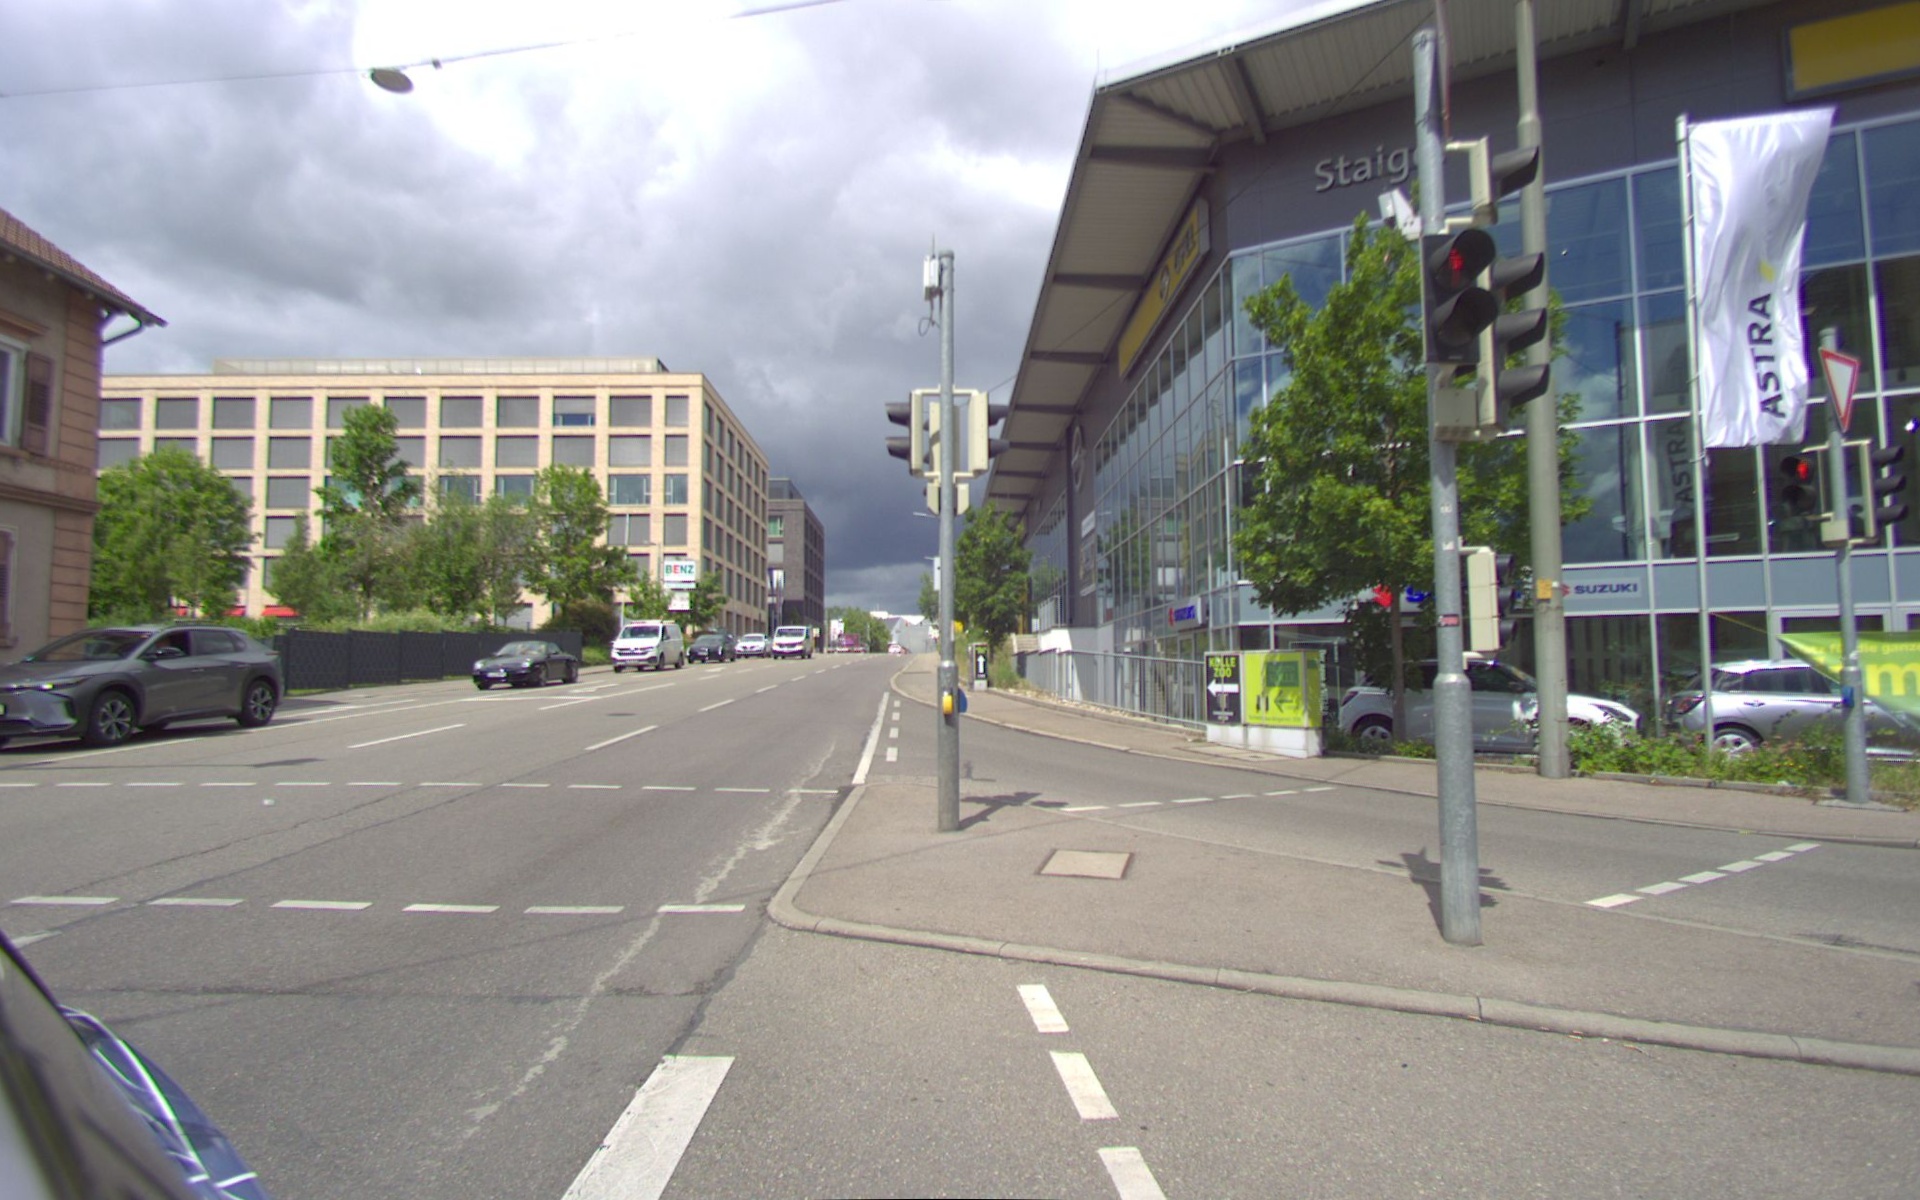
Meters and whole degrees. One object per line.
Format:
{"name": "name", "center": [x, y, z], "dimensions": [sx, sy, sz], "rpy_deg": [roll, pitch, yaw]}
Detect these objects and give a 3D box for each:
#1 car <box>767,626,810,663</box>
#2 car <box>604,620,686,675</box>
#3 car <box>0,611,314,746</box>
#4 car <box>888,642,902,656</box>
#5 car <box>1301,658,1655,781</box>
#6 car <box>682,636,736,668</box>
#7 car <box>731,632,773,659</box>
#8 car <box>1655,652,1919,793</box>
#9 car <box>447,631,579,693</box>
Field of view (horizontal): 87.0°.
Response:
{"name": "car", "center": [-10.134, 2.598, 60.190], "dimensions": [1.970, 2.008, 4.993], "rpy_deg": [-1, -1, -3]}
{"name": "car", "center": [-12.718, 1.864, 41.127], "dimensions": [1.971, 2.027, 4.818], "rpy_deg": [-1, -1, -2]}
{"name": "car", "center": [-11.815, 1.052, 14.609], "dimensions": [1.970, 1.590, 5.101], "rpy_deg": [-1, -2, -3]}
{"name": "car", "center": [-9.374, 7.062, 145.520], "dimensions": [1.970, 1.888, 4.993], "rpy_deg": [-1, -1, -3]}
{"name": "car", "center": [7.414, 1.625, 14.726], "dimensions": [4.292, 1.485, 1.928], "rpy_deg": [-2, -2, 32]}
{"name": "car", "center": [-13.113, 2.695, 53.014], "dimensions": [1.970, 1.477, 4.333], "rpy_deg": [-1, -1, -3]}
{"name": "car", "center": [-13.275, 2.873, 64.803], "dimensions": [1.970, 1.545, 4.333], "rpy_deg": [-1, -1, -3]}
{"name": "car", "center": [11.468, 1.470, 12.646], "dimensions": [4.283, 1.575, 1.931], "rpy_deg": [-2, -2, 27]}
{"name": "car", "center": [-12.354, 1.661, 28.292], "dimensions": [1.970, 1.477, 4.333], "rpy_deg": [-1, -1, -3]}
